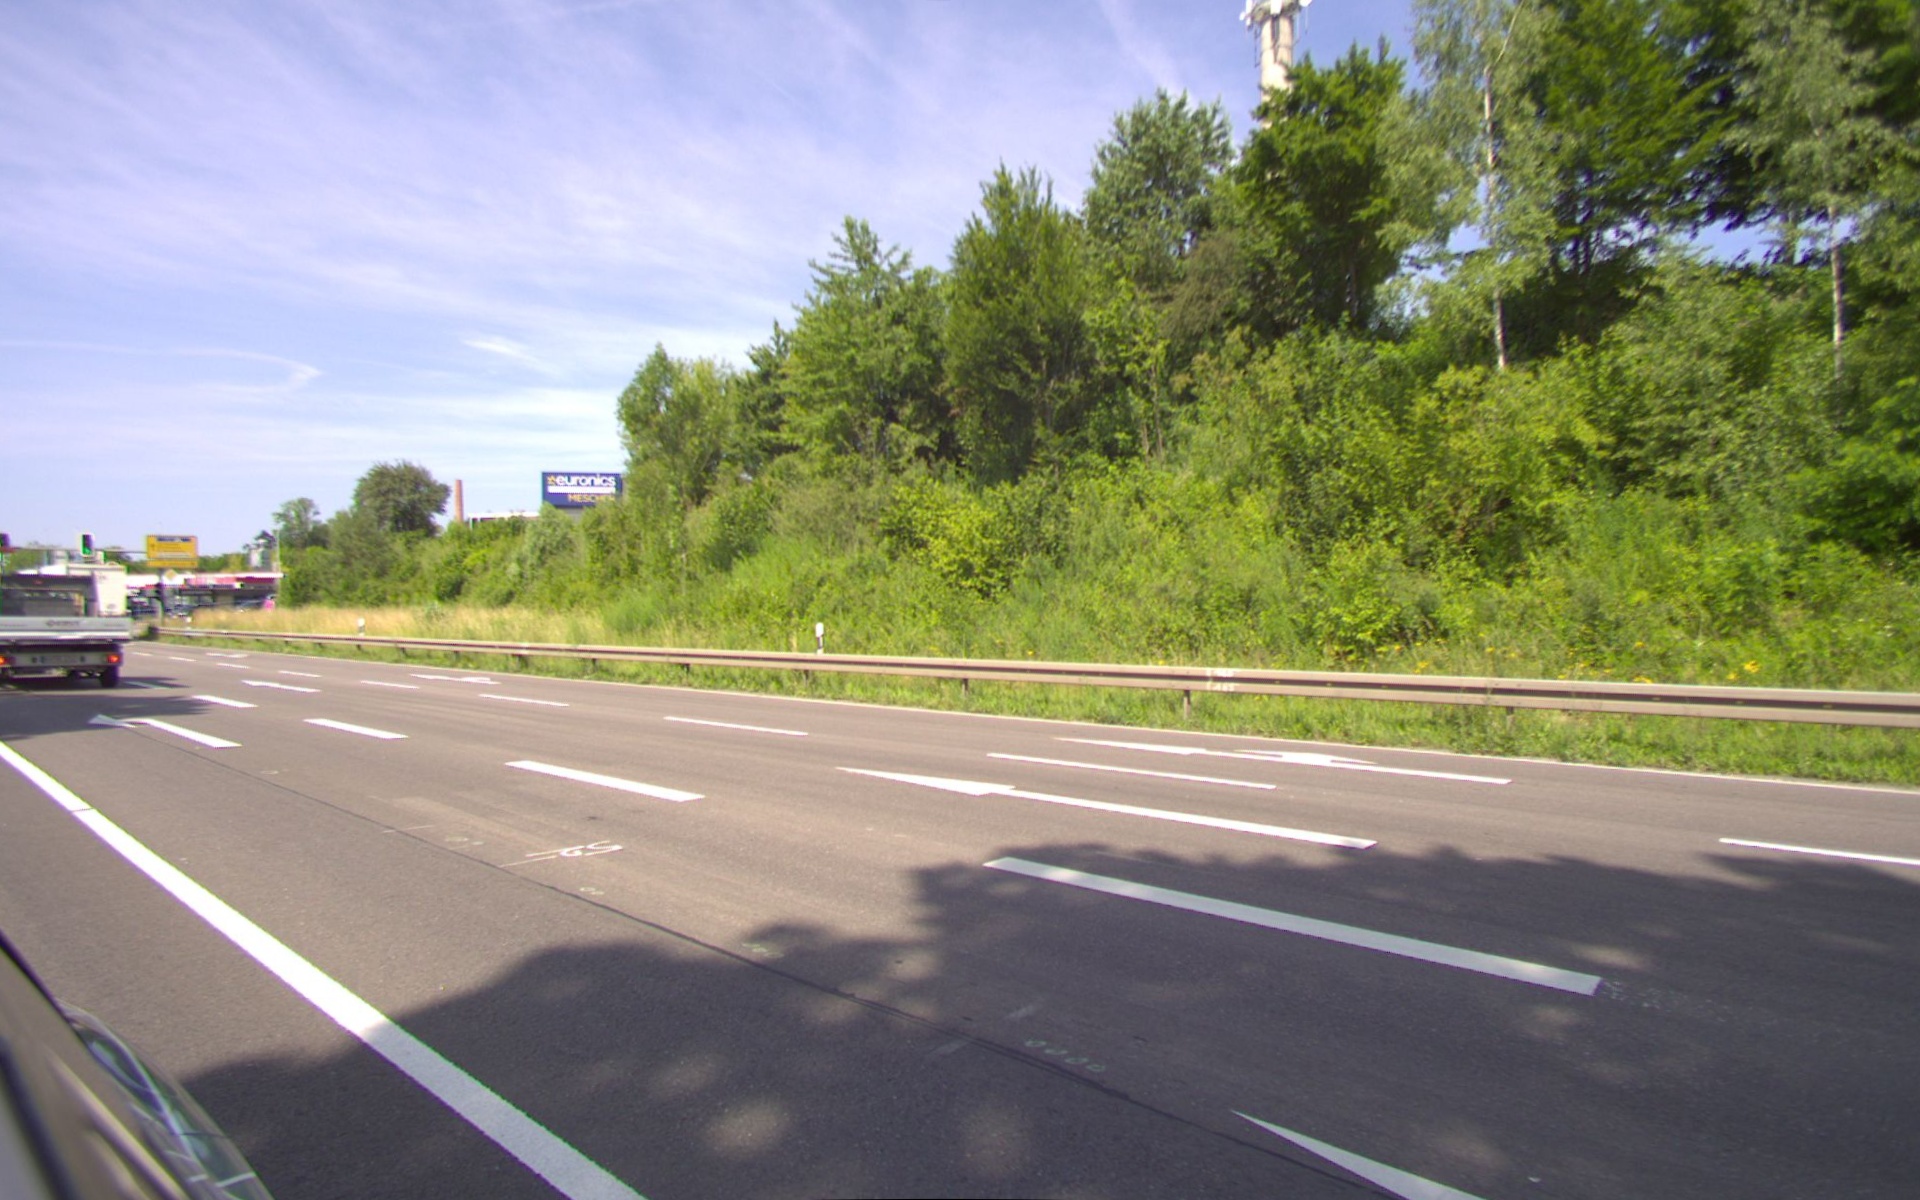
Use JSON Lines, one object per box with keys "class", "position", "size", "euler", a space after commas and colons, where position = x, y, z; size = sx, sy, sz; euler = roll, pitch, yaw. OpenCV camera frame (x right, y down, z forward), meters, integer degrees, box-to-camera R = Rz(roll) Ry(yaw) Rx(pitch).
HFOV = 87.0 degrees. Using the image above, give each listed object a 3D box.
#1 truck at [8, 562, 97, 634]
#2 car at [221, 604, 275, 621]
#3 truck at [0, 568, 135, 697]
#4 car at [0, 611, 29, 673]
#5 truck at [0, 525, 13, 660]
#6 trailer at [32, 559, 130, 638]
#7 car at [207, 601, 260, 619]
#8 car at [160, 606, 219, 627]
{"class": "truck", "position": [-55.656, -0.075, 61.969], "size": [9.676, 4.147, 2.800], "euler": [-1, -1, 41]}
{"class": "car", "position": [-69.587, 1.228, 99.029], "size": [1.921, 1.429, 4.977], "euler": [0, 2, -2]}
{"class": "truck", "position": [-18.963, 0.604, 20.713], "size": [6.498, 2.285, 2.203], "euler": [-1, -1, 42]}
{"class": "car", "position": [-25.952, 1.061, 26.638], "size": [4.107, 1.563, 1.693], "euler": [-1, -1, 41]}
{"class": "truck", "position": [-32.398, -0.216, 32.238], "size": [6.261, 4.119, 2.511], "euler": [-1, -1, 40]}
{"class": "trailer", "position": [-48.727, -0.033, 56.012], "size": [8.750, 4.100, 2.811], "euler": [-1, -1, 41]}
{"class": "car", "position": [-70.212, 0.955, 97.877], "size": [1.972, 1.574, 4.510], "euler": [0, 2, 0]}
{"class": "car", "position": [-69.307, 1.463, 91.145], "size": [1.887, 1.538, 4.639], "euler": [-2, 2, -2]}
